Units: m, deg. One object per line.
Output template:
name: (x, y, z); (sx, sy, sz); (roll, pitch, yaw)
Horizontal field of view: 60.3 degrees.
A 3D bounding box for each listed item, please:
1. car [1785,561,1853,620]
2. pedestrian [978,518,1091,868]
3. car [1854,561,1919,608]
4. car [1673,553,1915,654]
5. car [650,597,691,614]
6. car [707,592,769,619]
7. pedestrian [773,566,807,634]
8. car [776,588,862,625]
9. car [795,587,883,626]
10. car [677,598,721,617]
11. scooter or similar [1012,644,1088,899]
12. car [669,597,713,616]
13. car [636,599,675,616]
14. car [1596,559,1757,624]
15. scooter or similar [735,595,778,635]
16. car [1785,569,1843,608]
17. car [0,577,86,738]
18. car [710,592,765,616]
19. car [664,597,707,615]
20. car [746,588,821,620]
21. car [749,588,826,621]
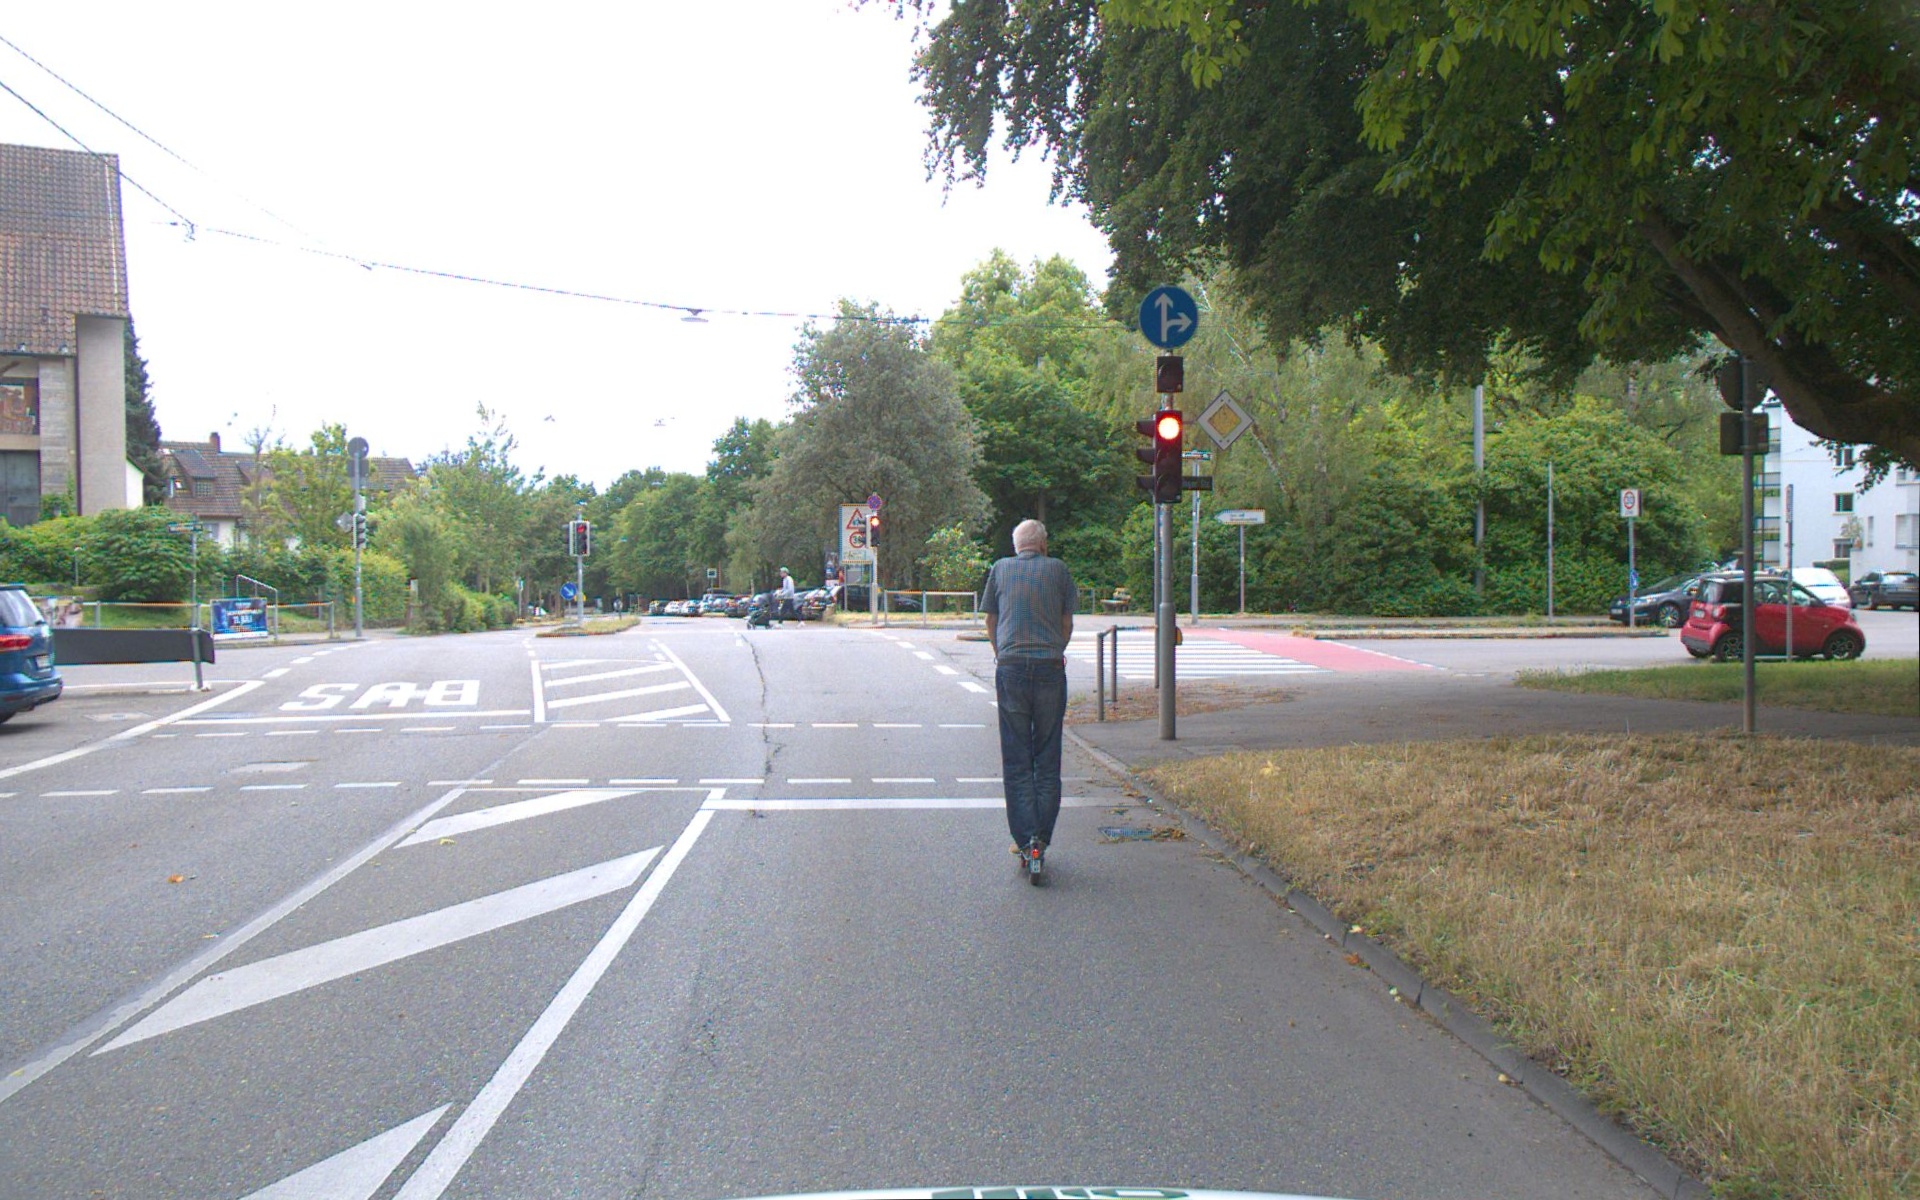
car: (25.813, -0.306, 49.768); (1.689, 1.639, 3.851); (-2, 1, 26)
pedestrian: (0.405, 0.491, 8.965); (0.560, 1.845, 0.420); (-1, 0, 2)
car: (35.108, -0.611, 62.494); (1.686, 1.639, 3.856); (-2, 1, 19)
car: (14.880, 0.057, 29.663); (3.444, 1.639, 1.729); (-2, 1, 4)
car: (-29.564, 0.560, 168.733); (3.792, 1.639, 1.715); (-2, 1, -24)
car: (-15.046, 0.365, 112.198); (3.792, 1.639, 1.715); (-2, 1, -24)
pedestrian: (-4.846, -0.006, 47.204); (0.869, 1.895, 0.572); (-1, 0, -15)
car: (-6.851, 0.304, 80.246); (3.793, 1.639, 1.714); (-2, 1, -25)
car: (-5.746, 0.298, 78.305); (3.789, 1.639, 1.716); (-2, 1, -22)
car: (-24.808, 0.673, 157.087); (3.792, 1.639, 1.715); (-2, 1, -24)
scooter or similar: (0.459, 0.854, 8.685); (0.276, 1.199, 1.176); (-1, 0, -2)
car: (-25.890, 0.614, 159.192); (3.792, 1.639, 1.715); (-2, 1, -24)
car: (-32.765, 0.791, 178.122); (3.792, 1.639, 1.715); (-2, 1, -24)
car: (18.633, -0.223, 43.107); (3.444, 1.557, 1.729); (-2, 1, 5)
scooter or similar: (-5.777, 0.411, 46.895); (1.091, 1.100, 0.574); (-1, 0, -19)
car: (38.223, -0.547, 74.078); (1.686, 1.639, 3.856); (-2, 1, 19)
car: (-11.606, 0.656, 17.375); (3.924, 1.639, 1.810); (-2, 1, -17)
car: (-16.842, 0.283, 125.120); (3.792, 1.639, 1.715); (-2, 1, -24)
car: (-26.849, 0.600, 161.738); (3.792, 1.639, 1.715); (-2, 1, -24)
car: (-9.856, 0.214, 92.471); (3.792, 1.639, 1.715); (-2, 1, -24)
car: (-9.391, 0.216, 90.071); (3.792, 1.639, 1.715); (-2, 1, -24)
